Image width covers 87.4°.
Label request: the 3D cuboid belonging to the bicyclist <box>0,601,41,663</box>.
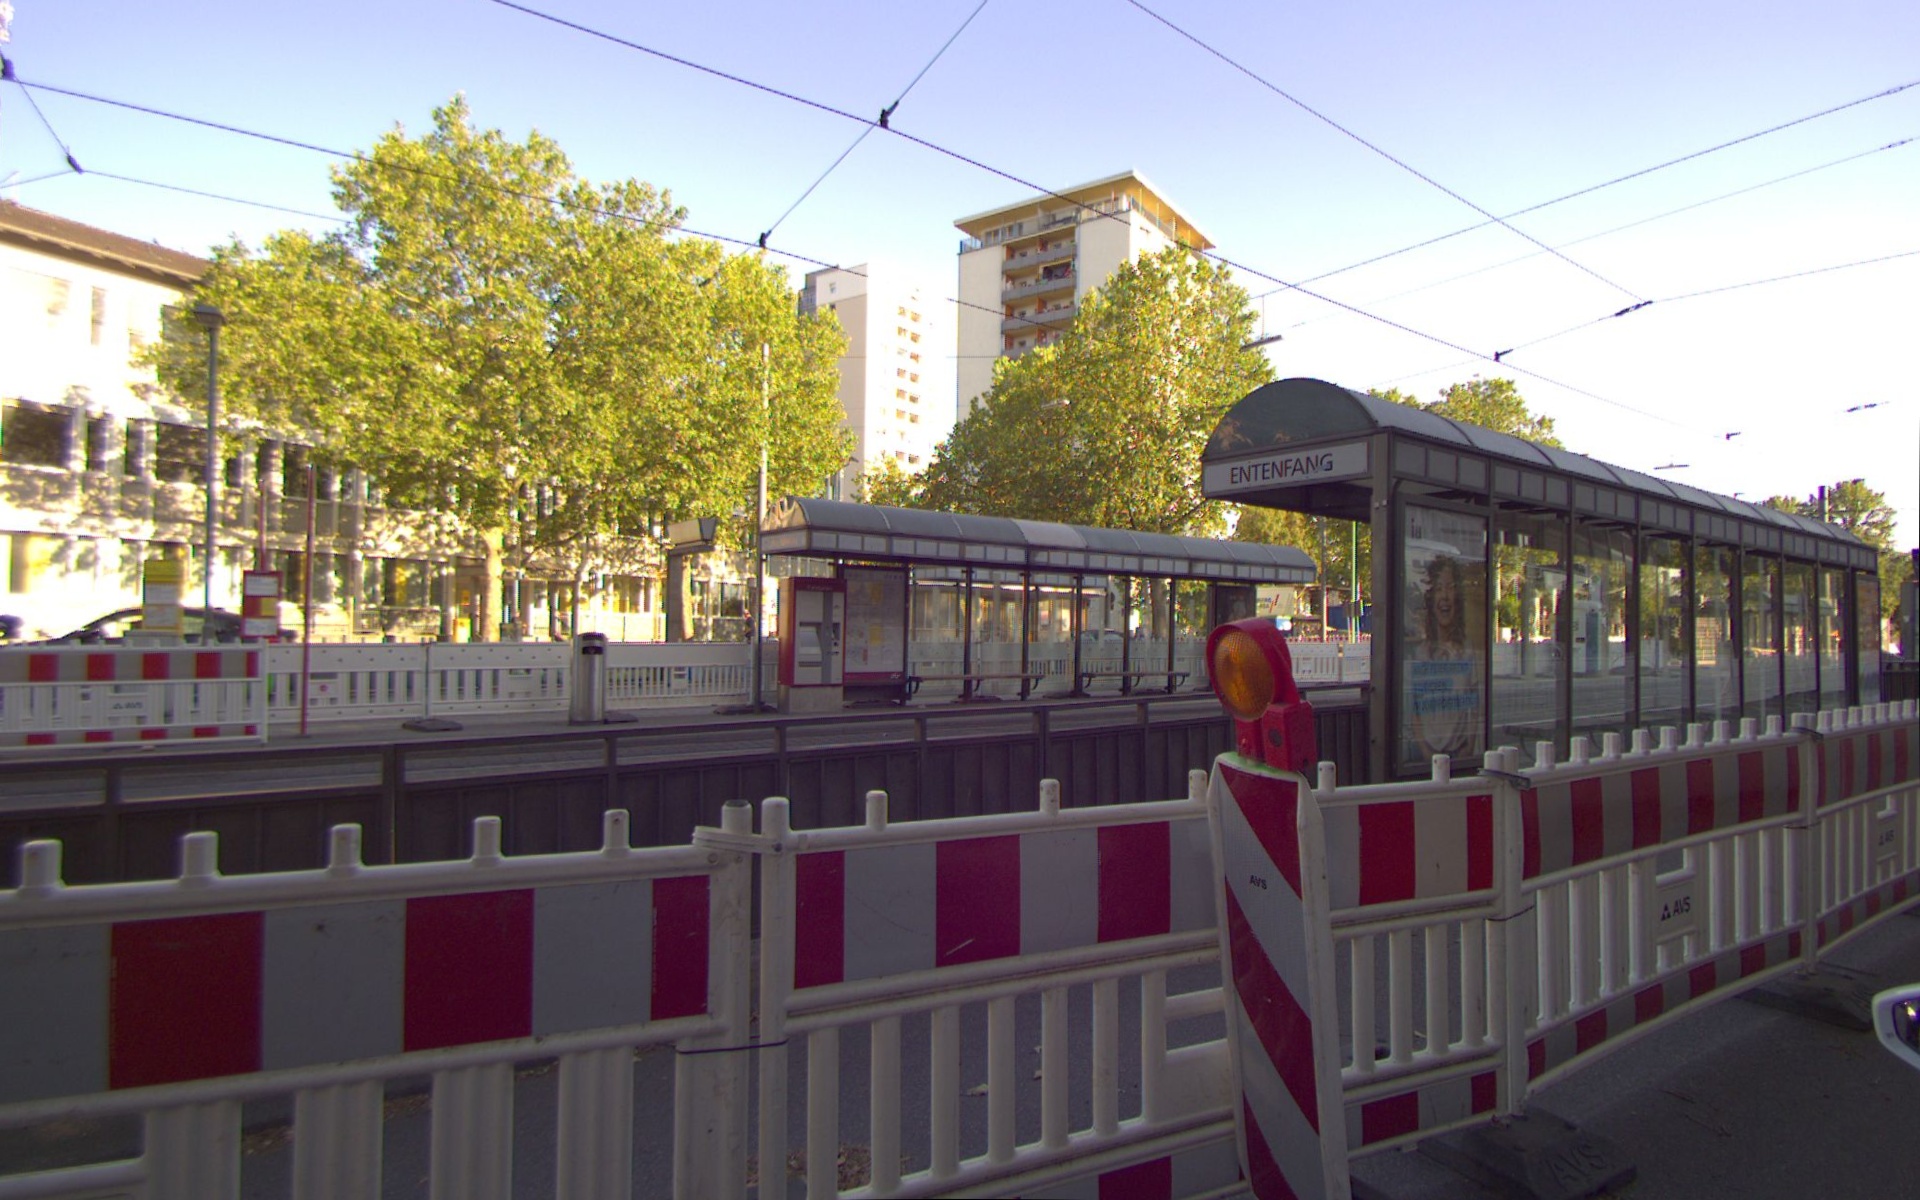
[{"bbox_3d":[-20.481,0.689,21.708,0.800,1.314,0.459,1,-1,-33],"label":"bicyclist"}]

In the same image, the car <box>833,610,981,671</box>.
[{"bbox_3d":[-1.401,1.090,27.296,3.740,1.532,1.646,2,-2,-38],"label":"car"}]

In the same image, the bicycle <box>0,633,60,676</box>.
[{"bbox_3d":[-20.481,1.168,21.706,1.450,0.907,0.459,2,-2,-34],"label":"bicycle"}]

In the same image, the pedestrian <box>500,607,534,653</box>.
[{"bbox_3d":[-16.936,1.151,38.407,0.793,1.751,0.884,0,-1,27],"label":"pedestrian"}]

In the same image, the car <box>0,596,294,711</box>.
[{"bbox_3d":[-13.786,0.840,16.602,4.544,1.689,1.881,2,0,-37],"label":"car"}]
